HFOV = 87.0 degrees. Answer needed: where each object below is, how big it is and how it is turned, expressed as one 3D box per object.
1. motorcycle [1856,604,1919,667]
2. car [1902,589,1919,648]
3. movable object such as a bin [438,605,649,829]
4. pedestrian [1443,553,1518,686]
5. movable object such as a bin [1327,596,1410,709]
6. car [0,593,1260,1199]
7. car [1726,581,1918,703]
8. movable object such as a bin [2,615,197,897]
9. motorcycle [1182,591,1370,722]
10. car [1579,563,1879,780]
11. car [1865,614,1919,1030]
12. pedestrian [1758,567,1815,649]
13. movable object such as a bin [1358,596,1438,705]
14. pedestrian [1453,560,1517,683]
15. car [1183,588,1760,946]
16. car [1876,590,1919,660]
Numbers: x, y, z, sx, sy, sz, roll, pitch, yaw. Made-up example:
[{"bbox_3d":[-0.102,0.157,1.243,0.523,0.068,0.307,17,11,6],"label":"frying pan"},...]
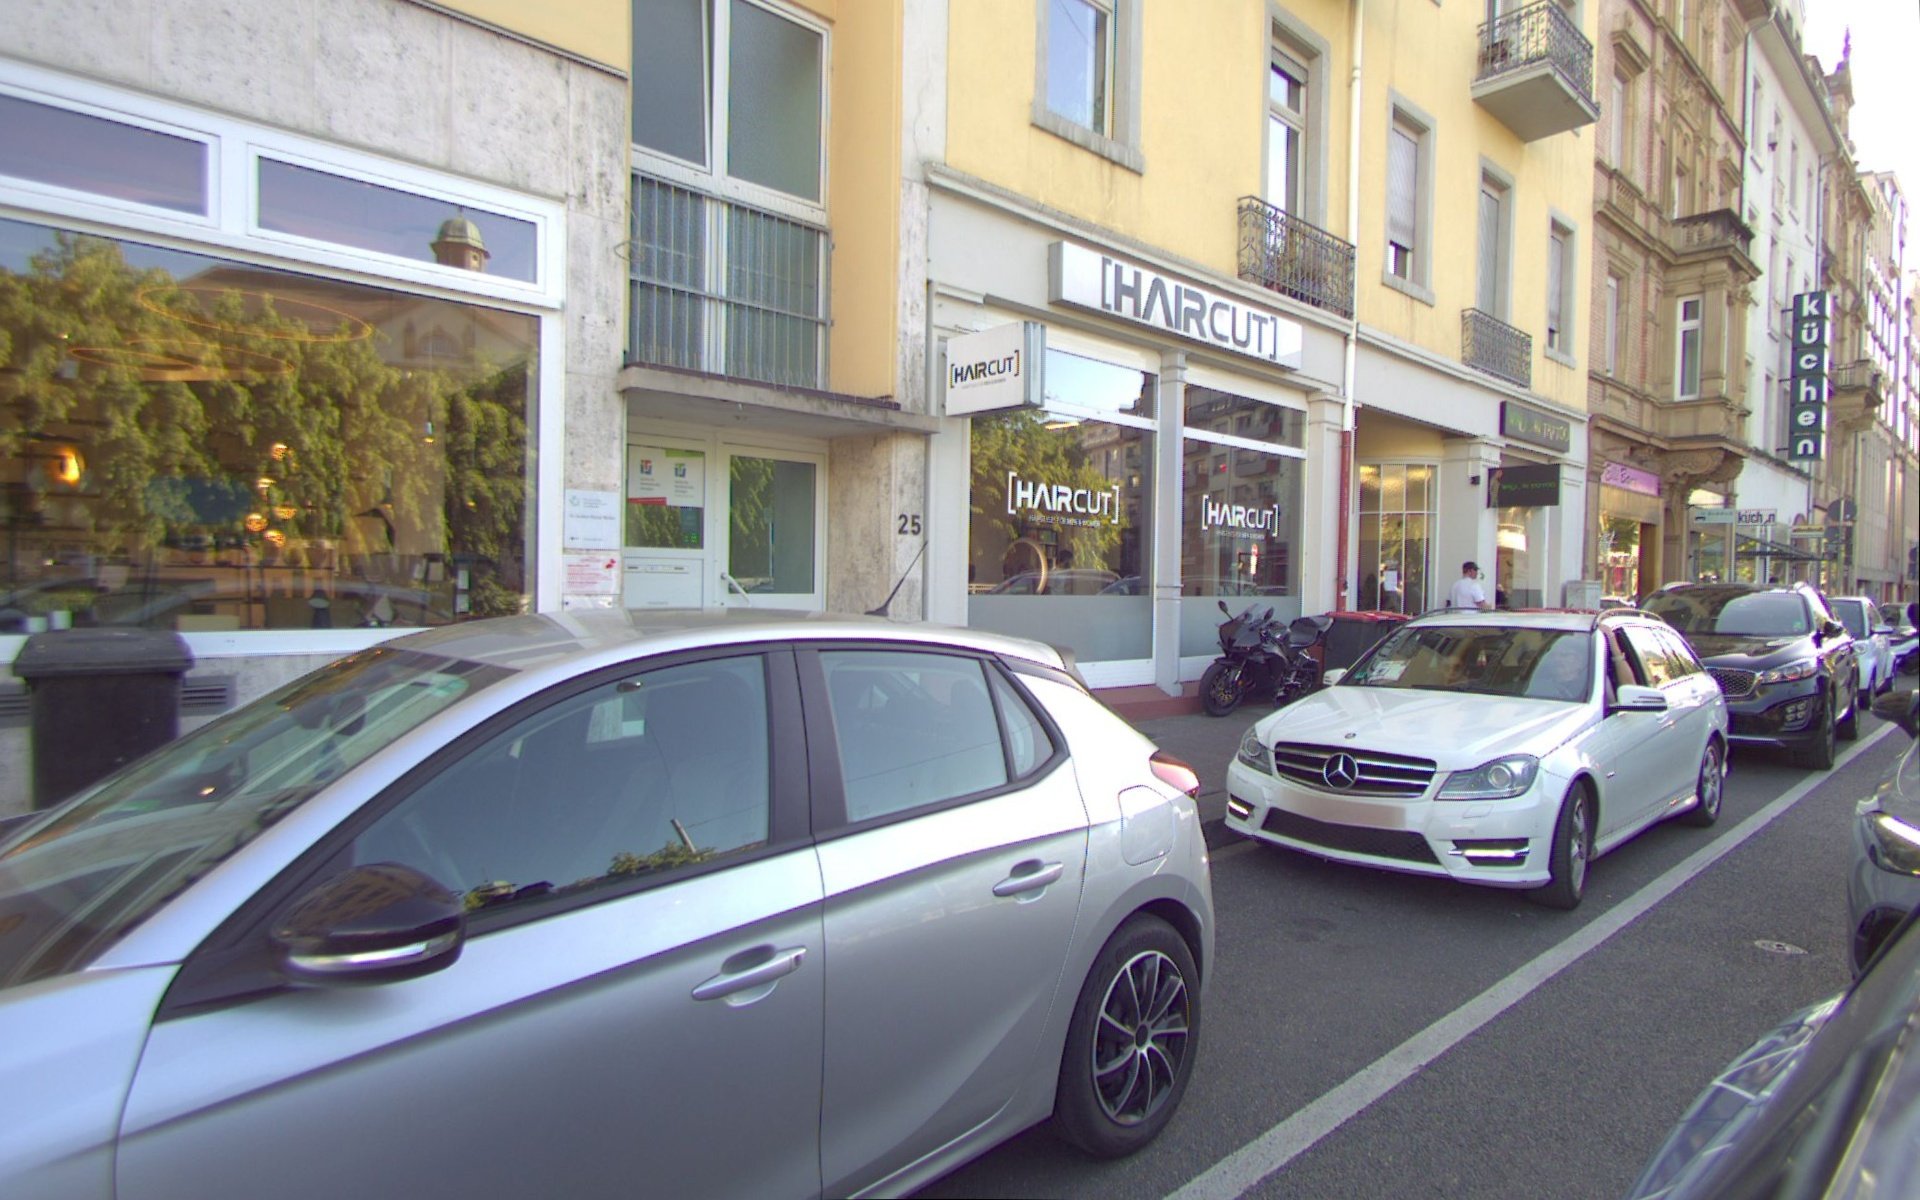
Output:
[{"bbox_3d":[19.286,0.712,20.512,1.514,1.248,0.771,1,0,1],"label":"motorcycle"},{"bbox_3d":[26.399,0.486,26.854,3.931,1.504,1.713,0,1,-42],"label":"car"},{"bbox_3d":[-2.270,0.572,5.513,0.878,1.066,0.752,0,1,-40],"label":"movable object such as a bin"},{"bbox_3d":[6.671,0.235,12.964,0.689,1.637,0.641,0,0,-42],"label":"pedestrian"},{"bbox_3d":[4.635,0.575,11.493,0.633,1.222,0.647,0,0,-40],"label":"movable object such as a bin"},{"bbox_3d":[-1.033,0.703,2.312,3.642,1.415,1.652,0,1,-42],"label":"car"},{"bbox_3d":[12.653,0.533,14.817,2.965,1.587,1.695,0,1,-40],"label":"car"},{"bbox_3d":[-3.685,0.603,4.361,0.591,1.041,0.812,0,1,-40],"label":"movable object such as a bin"},{"bbox_3d":[3.320,0.526,10.520,2.208,1.179,0.773,0,4,-41],"label":"motorcycle"},{"bbox_3d":[7.988,0.538,10.318,1.853,1.719,4.623,1,1,45],"label":"car"},{"bbox_3d":[5.354,0.774,4.297,4.183,1.396,1.846,0,1,-42],"label":"car"},{"bbox_3d":[16.904,0.146,20.693,0.750,1.637,0.794,0,1,-43],"label":"pedestrian"},{"bbox_3d":[5.145,0.569,11.883,0.633,1.222,0.647,0,0,-40],"label":"movable object such as a bin"},{"bbox_3d":[7.208,0.283,13.904,0.631,1.637,0.572,0,0,-40],"label":"pedestrian"},{"bbox_3d":[3.480,0.681,6.406,4.519,1.480,1.757,0,1,-42],"label":"car"},{"bbox_3d":[22.249,0.544,23.010,3.931,1.504,1.713,0,1,-42],"label":"car"}]
